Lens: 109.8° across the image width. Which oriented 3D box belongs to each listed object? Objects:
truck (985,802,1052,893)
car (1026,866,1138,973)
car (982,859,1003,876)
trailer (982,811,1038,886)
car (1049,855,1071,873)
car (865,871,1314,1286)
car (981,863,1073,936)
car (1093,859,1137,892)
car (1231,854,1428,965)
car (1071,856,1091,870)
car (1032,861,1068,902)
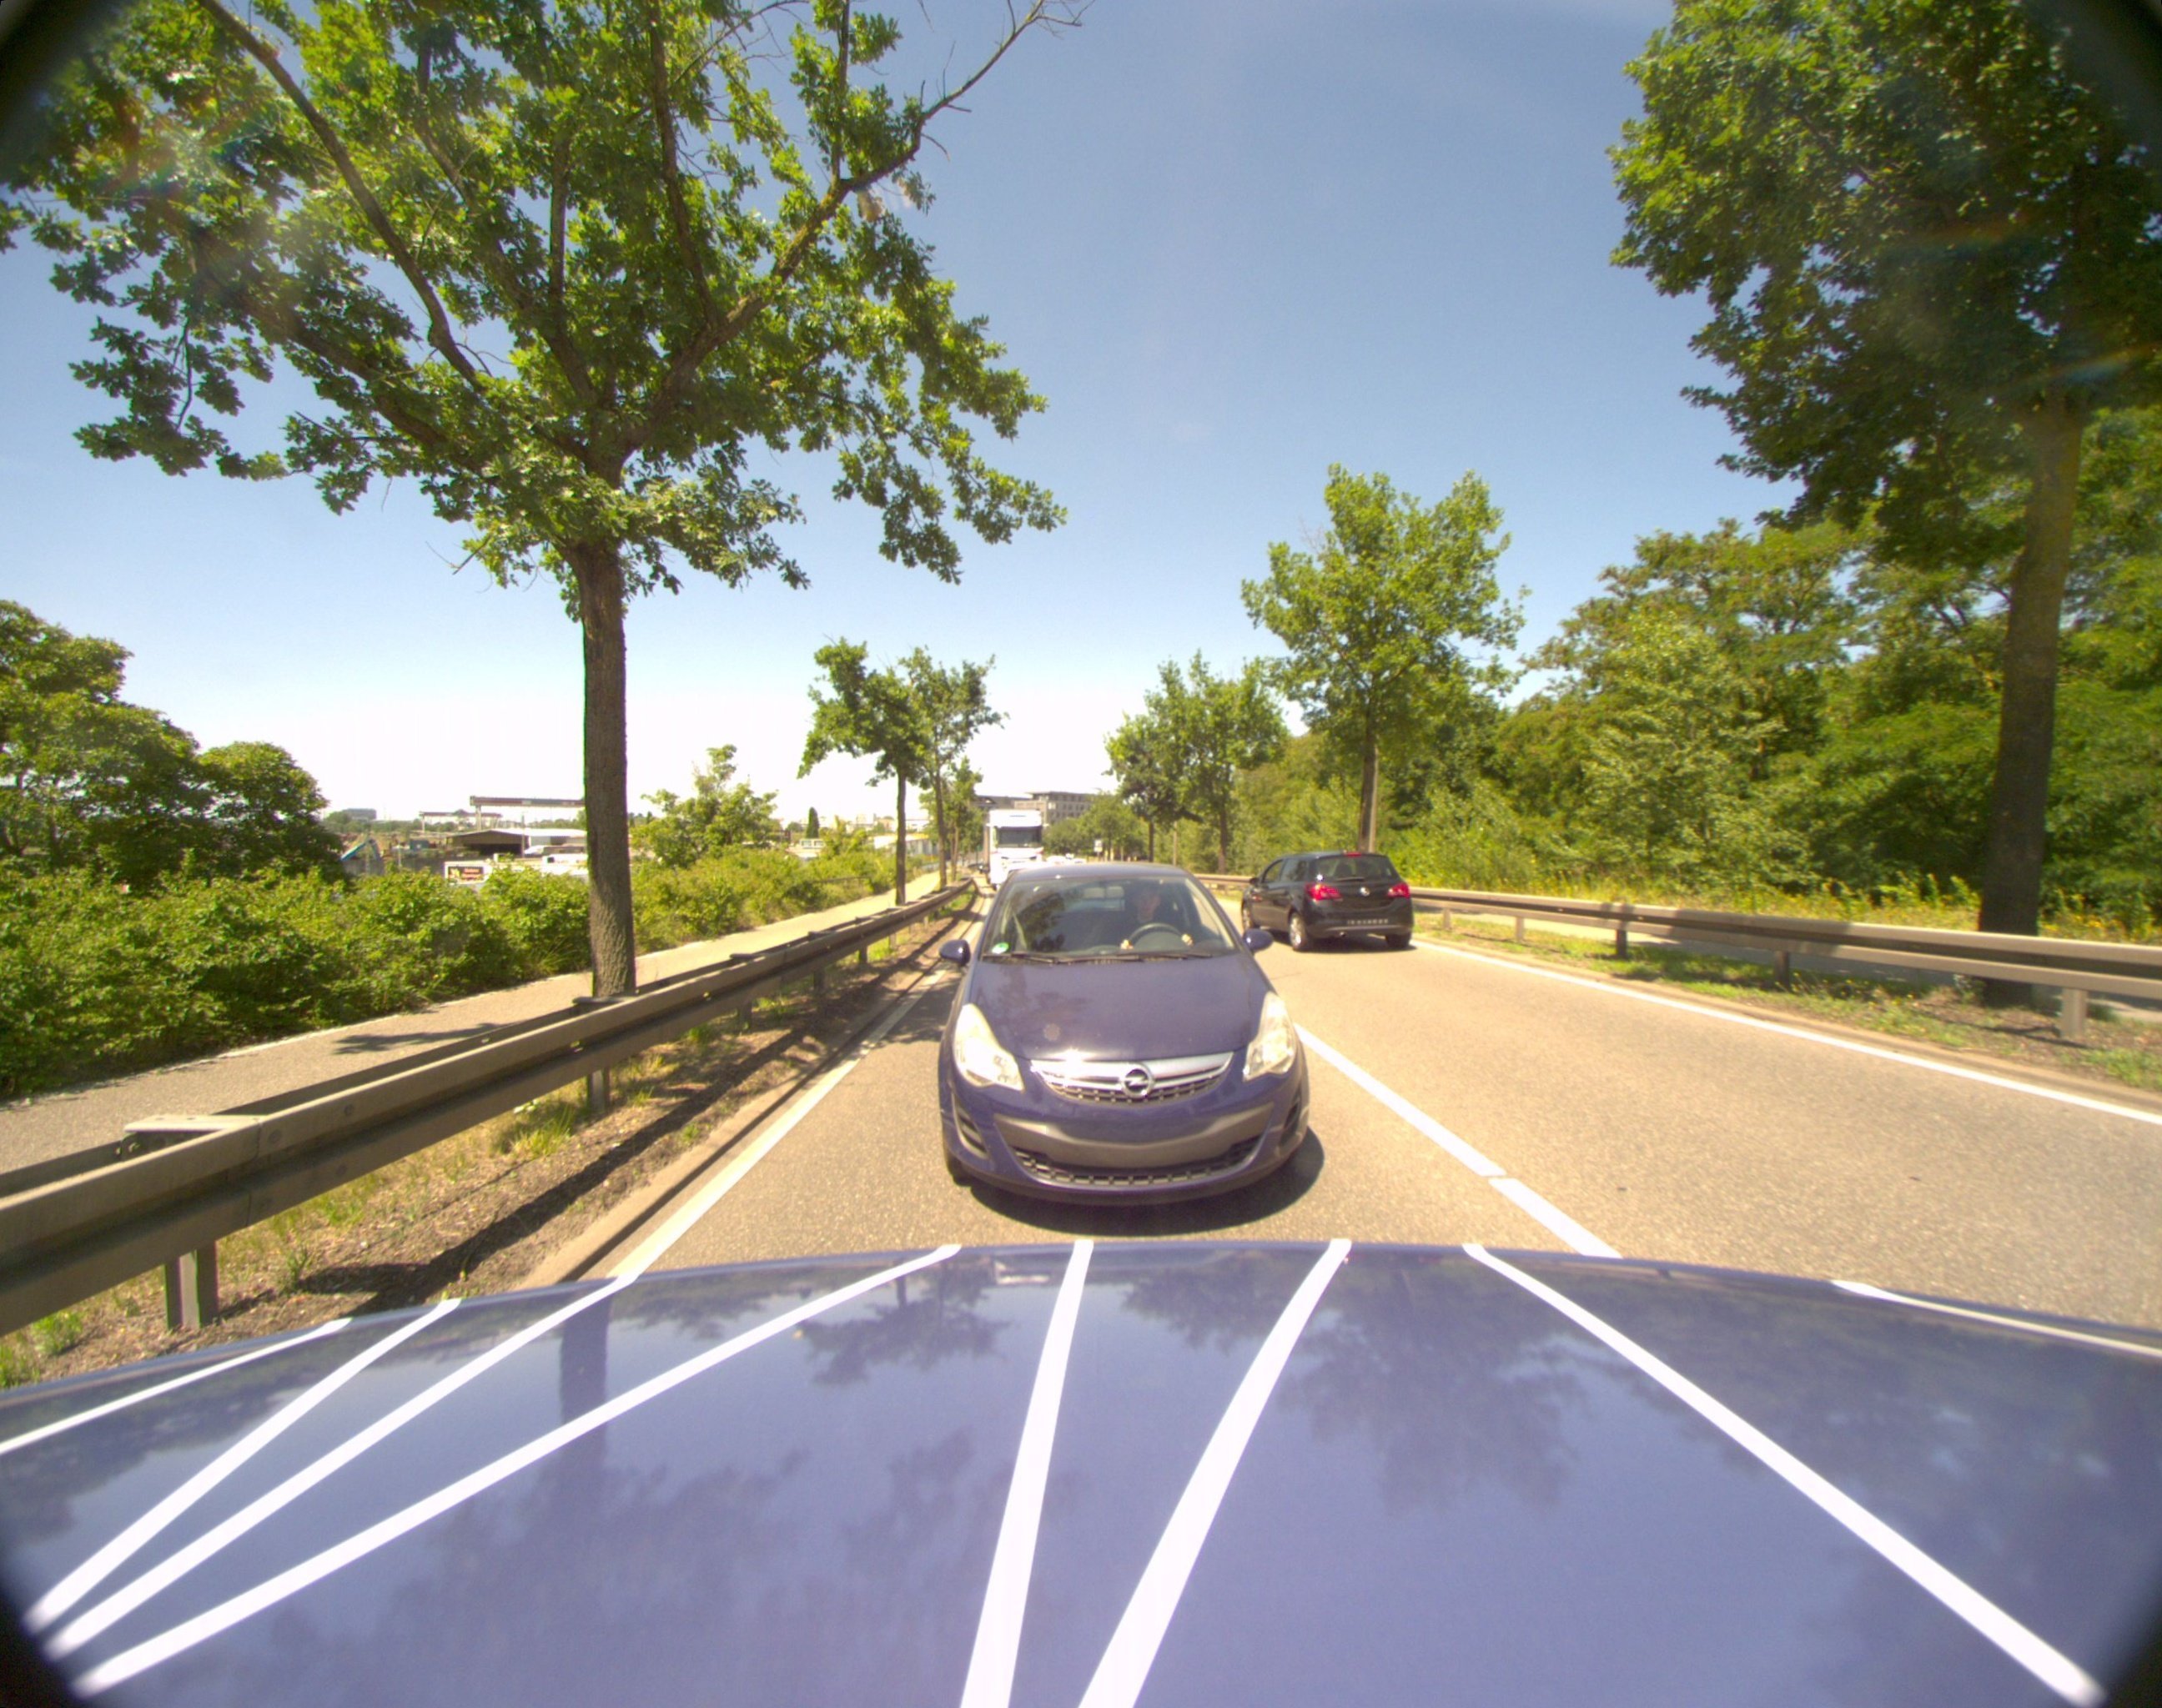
[{"bbox_3d":[-3.532,-0.312,40.501,2.859,4.244,8.808,-2,0,-9],"label":"truck"},{"bbox_3d":[-0.008,0.974,12.919,1.569,1.408,4.122,-2,0,-1],"label":"car"},{"bbox_3d":[-9.233,1.385,79.222,1.976,1.567,3.998,-1,0,-4],"label":"car"},{"bbox_3d":[-4.896,-0.301,49.965,2.882,4.189,13.997,-1,0,-8],"label":"trailer"},{"bbox_3d":[-1.802,0.793,63.600,1.537,1.406,3.551,-1,0,-6],"label":"car"},{"bbox_3d":[0.063,0.921,5.132,1.698,1.459,4.383,-2,0,1],"label":"car"},{"bbox_3d":[-1.151,0.980,17.805,1.816,1.419,3.715,-2,0,1],"label":"car"},{"bbox_3d":[1.544,0.949,35.508,1.612,1.374,3.845,-1,0,-4],"label":"car"},{"bbox_3d":[3.826,0.769,12.397,1.750,1.483,3.732,-1,0,-4],"label":"car"},{"bbox_3d":[-0.008,0.909,80.502,1.703,1.406,3.960,-1,0,6],"label":"car"},{"bbox_3d":[-1.153,0.966,28.313,1.250,1.376,3.104,-2,0,-2],"label":"car"}]
